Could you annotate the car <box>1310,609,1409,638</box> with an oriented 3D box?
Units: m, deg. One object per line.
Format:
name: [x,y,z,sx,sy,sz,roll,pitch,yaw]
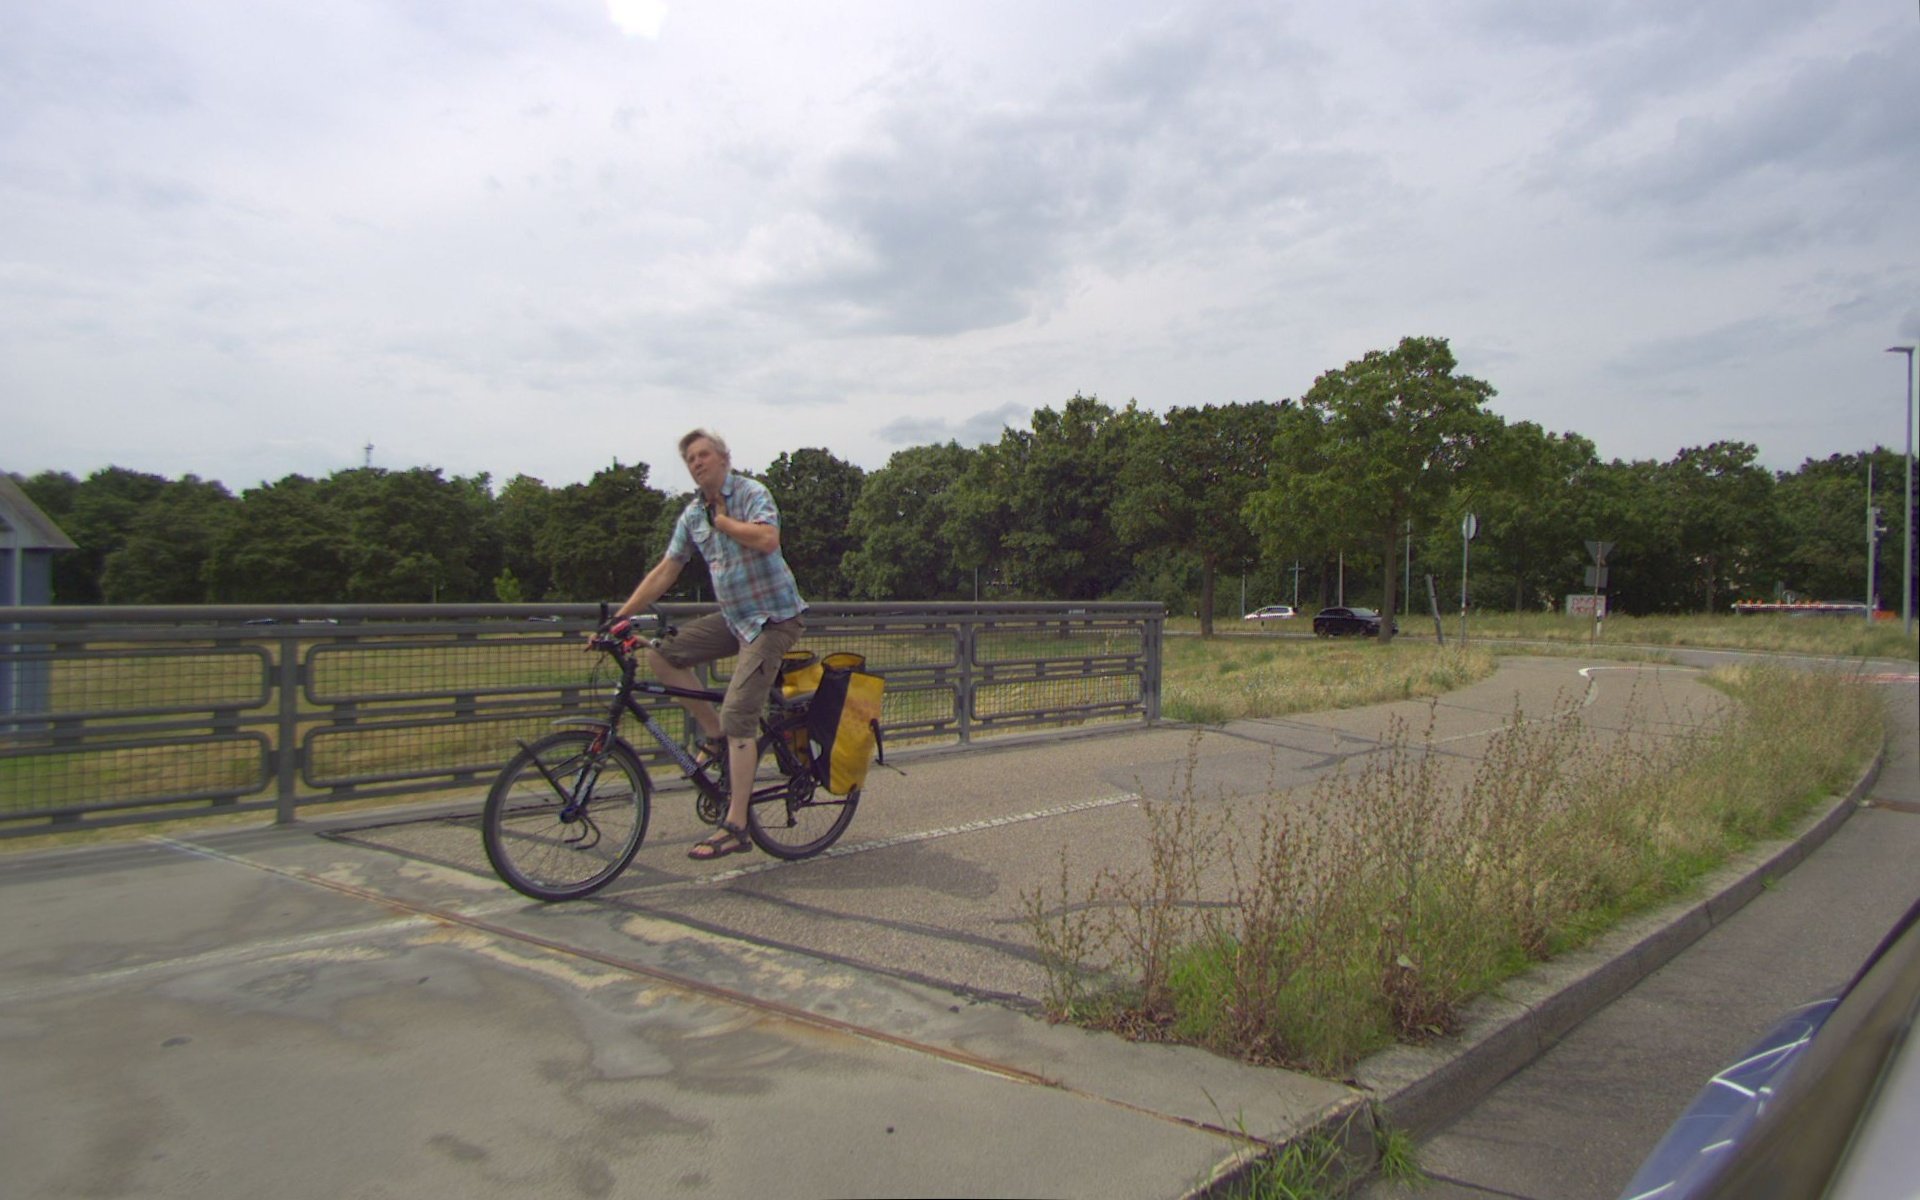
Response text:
car: [19.248,1.112,48.908,1.767,1.299,4.245,1,-1,-31]

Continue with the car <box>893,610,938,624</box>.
car: [-3.954,1.493,90.027,3.648,1.145,1.663,0,-1,27]

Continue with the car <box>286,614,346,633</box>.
car: [-66.456,2.457,104.445,4.803,1.825,2.003,1,0,-7]

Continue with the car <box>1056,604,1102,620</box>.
car: [9.432,0.937,80.312,1.647,1.288,3.685,1,-1,-33]

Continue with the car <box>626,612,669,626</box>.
car: [-32.690,1.979,105.912,3.952,1.416,1.986,1,0,21]

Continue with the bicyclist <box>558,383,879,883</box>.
bicyclist: [-1.034,0.096,4.326,0.871,1.823,0.941,6,3,45]

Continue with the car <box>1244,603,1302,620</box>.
car: [21.824,0.762,70.621,3.648,1.145,1.663,0,-1,27]

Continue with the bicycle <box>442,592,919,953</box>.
bicycle: [-1.113,0.584,4.290,0.813,1.154,1.735,6,4,44]
